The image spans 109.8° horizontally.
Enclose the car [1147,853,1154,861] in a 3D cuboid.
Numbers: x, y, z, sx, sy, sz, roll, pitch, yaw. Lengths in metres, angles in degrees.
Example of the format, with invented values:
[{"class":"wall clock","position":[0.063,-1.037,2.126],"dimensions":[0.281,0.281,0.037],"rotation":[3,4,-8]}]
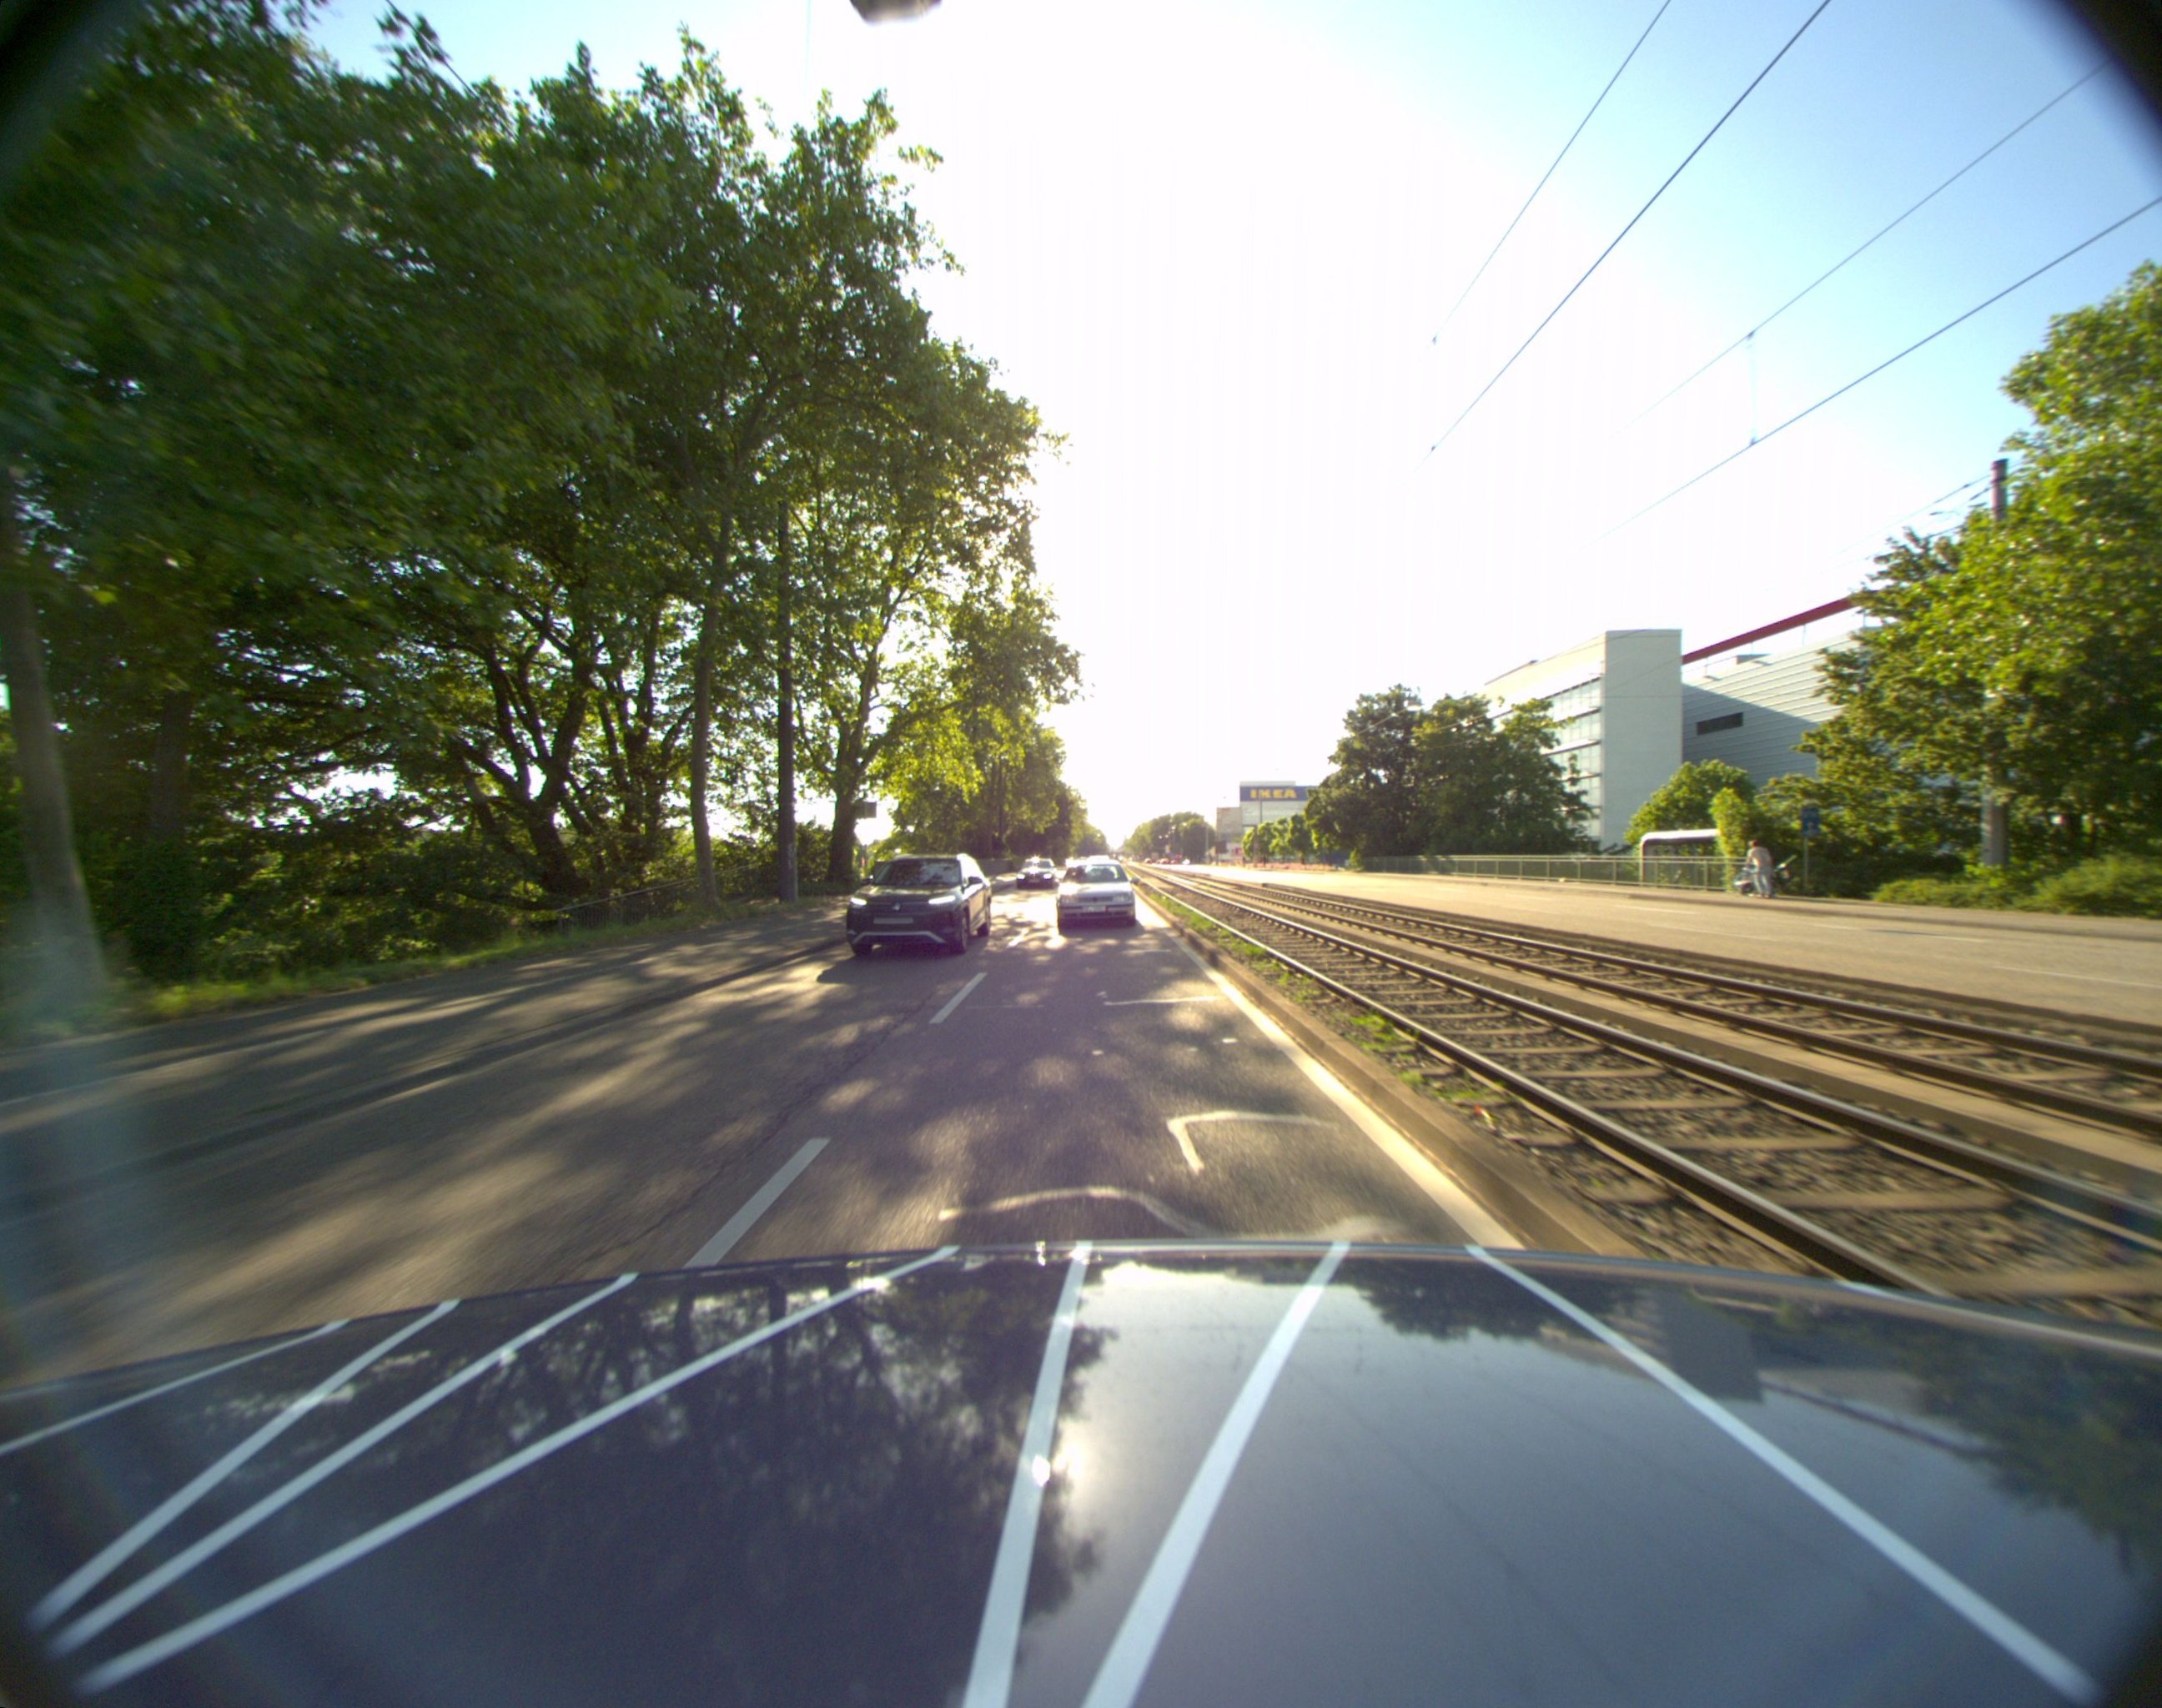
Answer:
[{"class":"car","position":[20.598,0.945,225.174],"dimensions":[1.997,2.281,4.002],"rotation":[-3,0,7]}]

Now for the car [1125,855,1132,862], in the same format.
[{"class":"car","position":[15.457,1.358,248.286],"dimensions":[1.997,2.281,4.002],"rotation":[0,0,7]}]

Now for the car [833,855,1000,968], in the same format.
[{"class":"car","position":[-2.724,0.876,13.690],"dimensions":[1.881,1.591,4.416],"rotation":[-1,1,2]}]

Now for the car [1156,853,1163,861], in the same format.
[{"class":"car","position":[23.713,0.976,228.560],"dimensions":[1.997,2.281,4.002],"rotation":[-3,0,7]}]

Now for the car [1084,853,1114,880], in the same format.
[{"class":"car","position":[1.239,0.816,51.484],"dimensions":[1.881,1.591,4.416],"rotation":[-1,1,2]}]

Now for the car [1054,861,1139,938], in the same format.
[{"class":"car","position":[0.363,0.940,17.478],"dimensions":[1.695,1.437,4.001],"rotation":[-1,1,1]}]

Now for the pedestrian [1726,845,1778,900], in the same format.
[{"class":"pedestrian","position":[20.726,0.548,23.500],"dimensions":[0.614,1.638,1.083],"rotation":[-3,1,1]}]

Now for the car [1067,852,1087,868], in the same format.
[{"class":"car","position":[-0.380,0.587,78.542],"dimensions":[1.881,1.449,4.416],"rotation":[-1,1,2]}]

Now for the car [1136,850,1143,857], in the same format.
[{"class":"car","position":[19.043,-0.253,247.883],"dimensions":[1.997,2.281,4.002],"rotation":[-1,0,7]}]

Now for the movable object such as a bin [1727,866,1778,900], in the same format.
[{"class":"movable object such as a bin","position":[20.754,0.876,23.504],"dimensions":[0.614,0.960,1.083],"rotation":[-3,1,1]}]

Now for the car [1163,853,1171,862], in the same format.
[{"class":"car","position":[23.029,0.994,202.596],"dimensions":[1.997,2.281,4.002],"rotation":[-3,0,7]}]

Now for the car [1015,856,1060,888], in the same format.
[{"class":"car","position":[-2.095,0.867,37.843],"dimensions":[1.874,1.405,4.001],"rotation":[-1,1,1]}]
